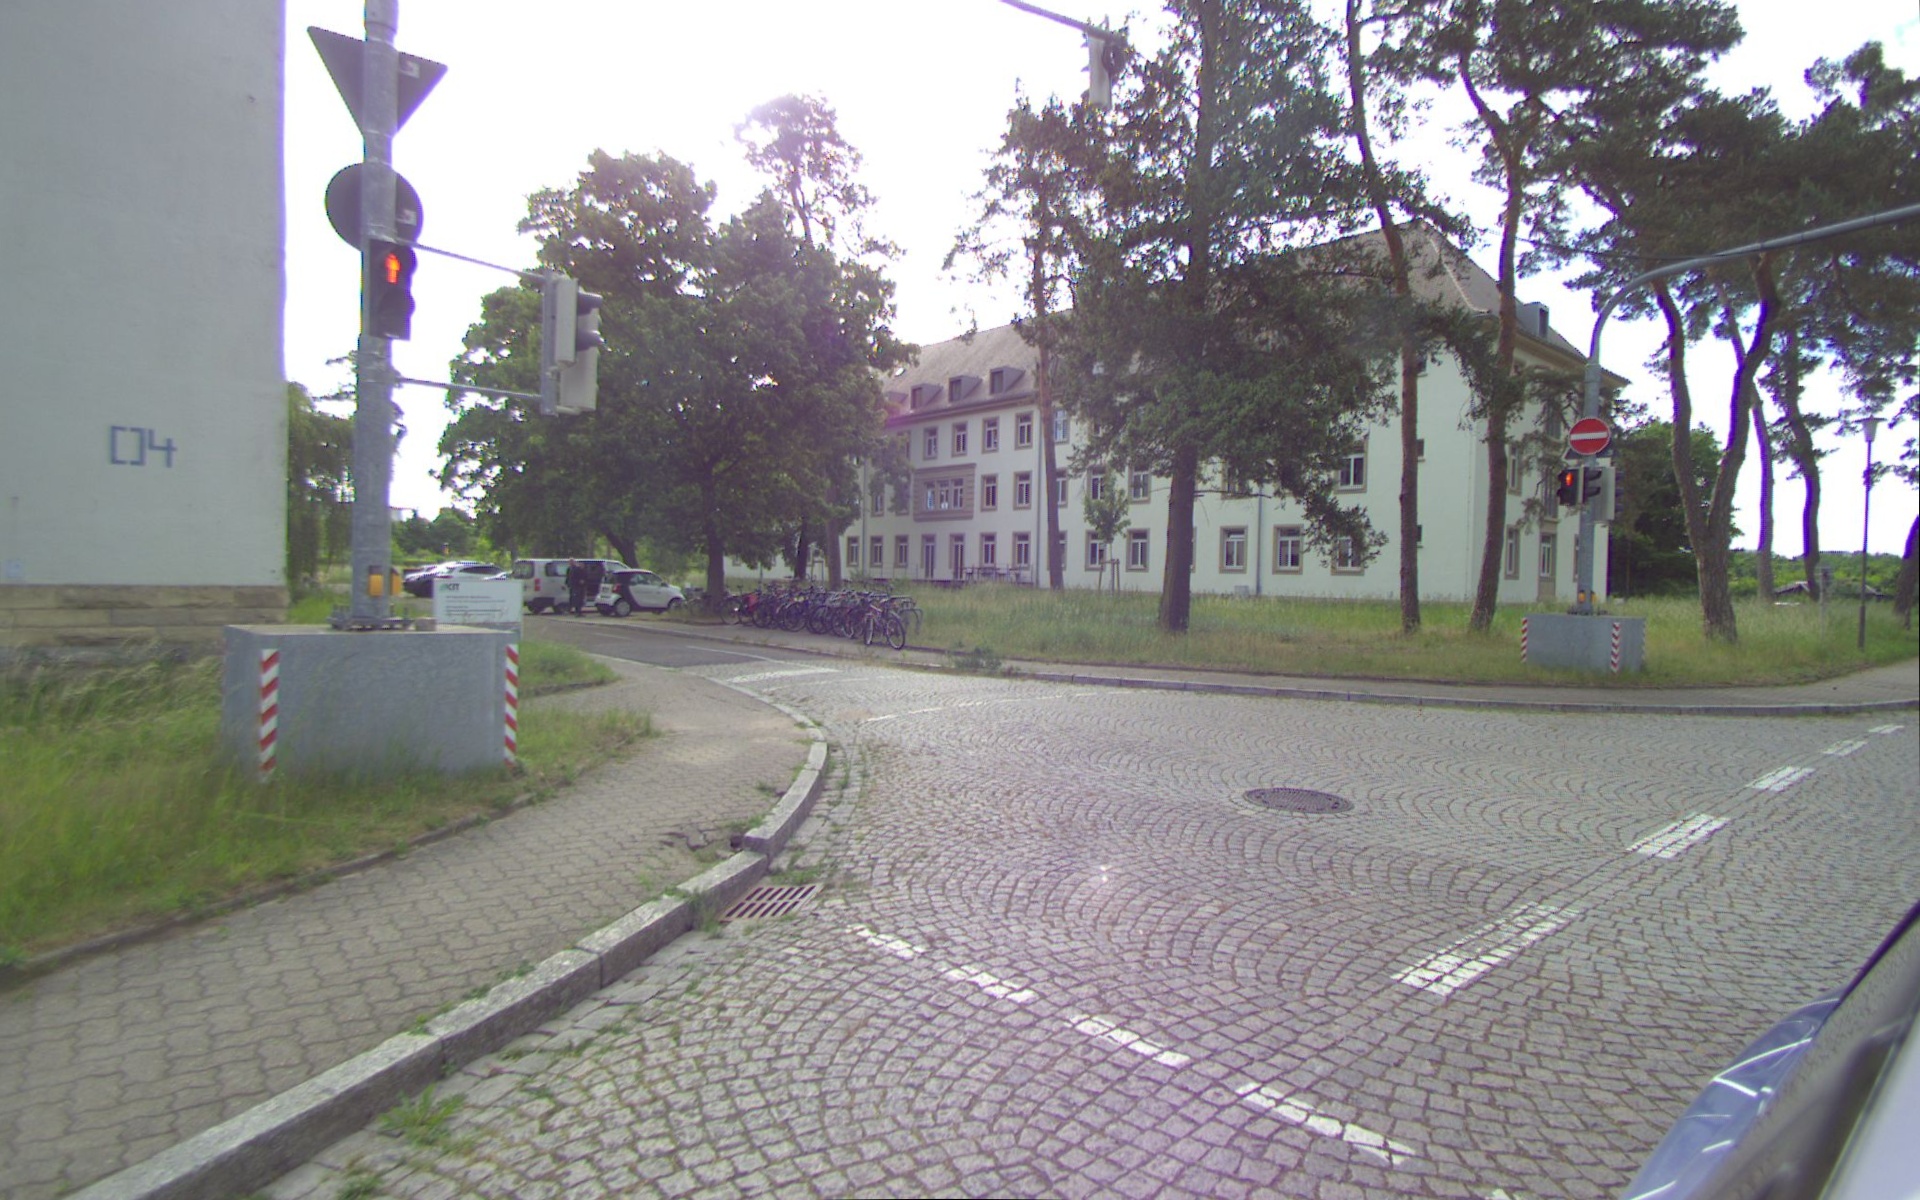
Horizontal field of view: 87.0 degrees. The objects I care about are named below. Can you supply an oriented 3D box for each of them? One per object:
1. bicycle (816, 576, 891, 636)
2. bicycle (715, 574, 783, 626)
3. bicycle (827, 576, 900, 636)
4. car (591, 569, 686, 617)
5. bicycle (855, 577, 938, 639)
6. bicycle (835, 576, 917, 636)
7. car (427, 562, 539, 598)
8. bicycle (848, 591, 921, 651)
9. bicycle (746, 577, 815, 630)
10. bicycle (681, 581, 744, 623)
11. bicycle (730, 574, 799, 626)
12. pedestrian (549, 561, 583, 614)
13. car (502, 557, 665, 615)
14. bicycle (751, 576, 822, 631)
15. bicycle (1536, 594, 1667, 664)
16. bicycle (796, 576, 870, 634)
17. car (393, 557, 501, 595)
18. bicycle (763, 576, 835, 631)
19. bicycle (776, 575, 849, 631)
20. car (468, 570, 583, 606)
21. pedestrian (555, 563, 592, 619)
[{"bbox_3d":[-2.508,0.129,23.963,0.571,1.348,1.809,2,1,43],"label":"bicycle"},{"bbox_3d":[-5.726,-0.008,27.548,0.571,1.348,1.809,2,1,43],"label":"bicycle"},{"bbox_3d":[-2.235,0.130,23.627,0.481,1.348,1.809,2,1,43],"label":"bicycle"},{"bbox_3d":[-10.768,-0.235,33.937,2.646,1.527,1.474,0,2,-41],"label":"car"},{"bbox_3d":[-1.428,0.177,22.842,1.802,1.348,0.573,0,1,-34],"label":"bicycle"},{"bbox_3d":[-1.920,0.132,23.242,1.802,1.348,0.573,0,1,-34],"label":"bicycle"},{"bbox_3d":[-22.111,-0.908,47.056,4.393,1.612,1.775,0,1,-44],"label":"car"},{"bbox_3d":[-1.550,0.403,20.463,0.562,1.098,1.837,-2,3,-37],"label":"bicycle"},{"bbox_3d":[-4.716,0.076,26.702,0.571,1.348,1.809,2,1,43],"label":"bicycle"},{"bbox_3d":[-7.397,0.053,30.257,0.571,1.201,1.810,2,1,42],"label":"bicycle"},{"bbox_3d":[-5.212,-0.012,27.055,0.571,1.348,1.809,2,1,43],"label":"bicycle"},{"bbox_3d":[-13.182,-0.416,33.879,0.863,1.759,0.799,0,1,-37],"label":"pedestrian"},{"bbox_3d":[-13.226,-0.497,35.778,5.029,1.908,1.997,0,2,-41],"label":"car"},{"bbox_3d":[-4.467,0.079,26.107,0.571,1.348,1.809,2,1,43],"label":"bicycle"},{"bbox_3d":[11.072,0.468,17.512,0.563,1.098,1.834,-2,3,-42],"label":"bicycle"},{"bbox_3d":[-3.052,0.108,24.502,0.571,1.348,1.809,2,1,43],"label":"bicycle"},{"bbox_3d":[-24.787,-1.148,48.922,4.311,1.739,1.997,0,2,-41],"label":"car"},{"bbox_3d":[-4.035,0.081,25.525,0.571,1.348,1.809,2,1,43],"label":"bicycle"},{"bbox_3d":[-3.640,0.062,25.122,0.571,1.348,1.809,2,1,43],"label":"bicycle"},{"bbox_3d":[-18.437,-0.520,43.049,4.181,1.433,1.690,0,1,-44],"label":"car"},{"bbox_3d":[-12.565,-0.296,32.918,0.867,1.759,0.822,1,1,-2],"label":"pedestrian"}]
